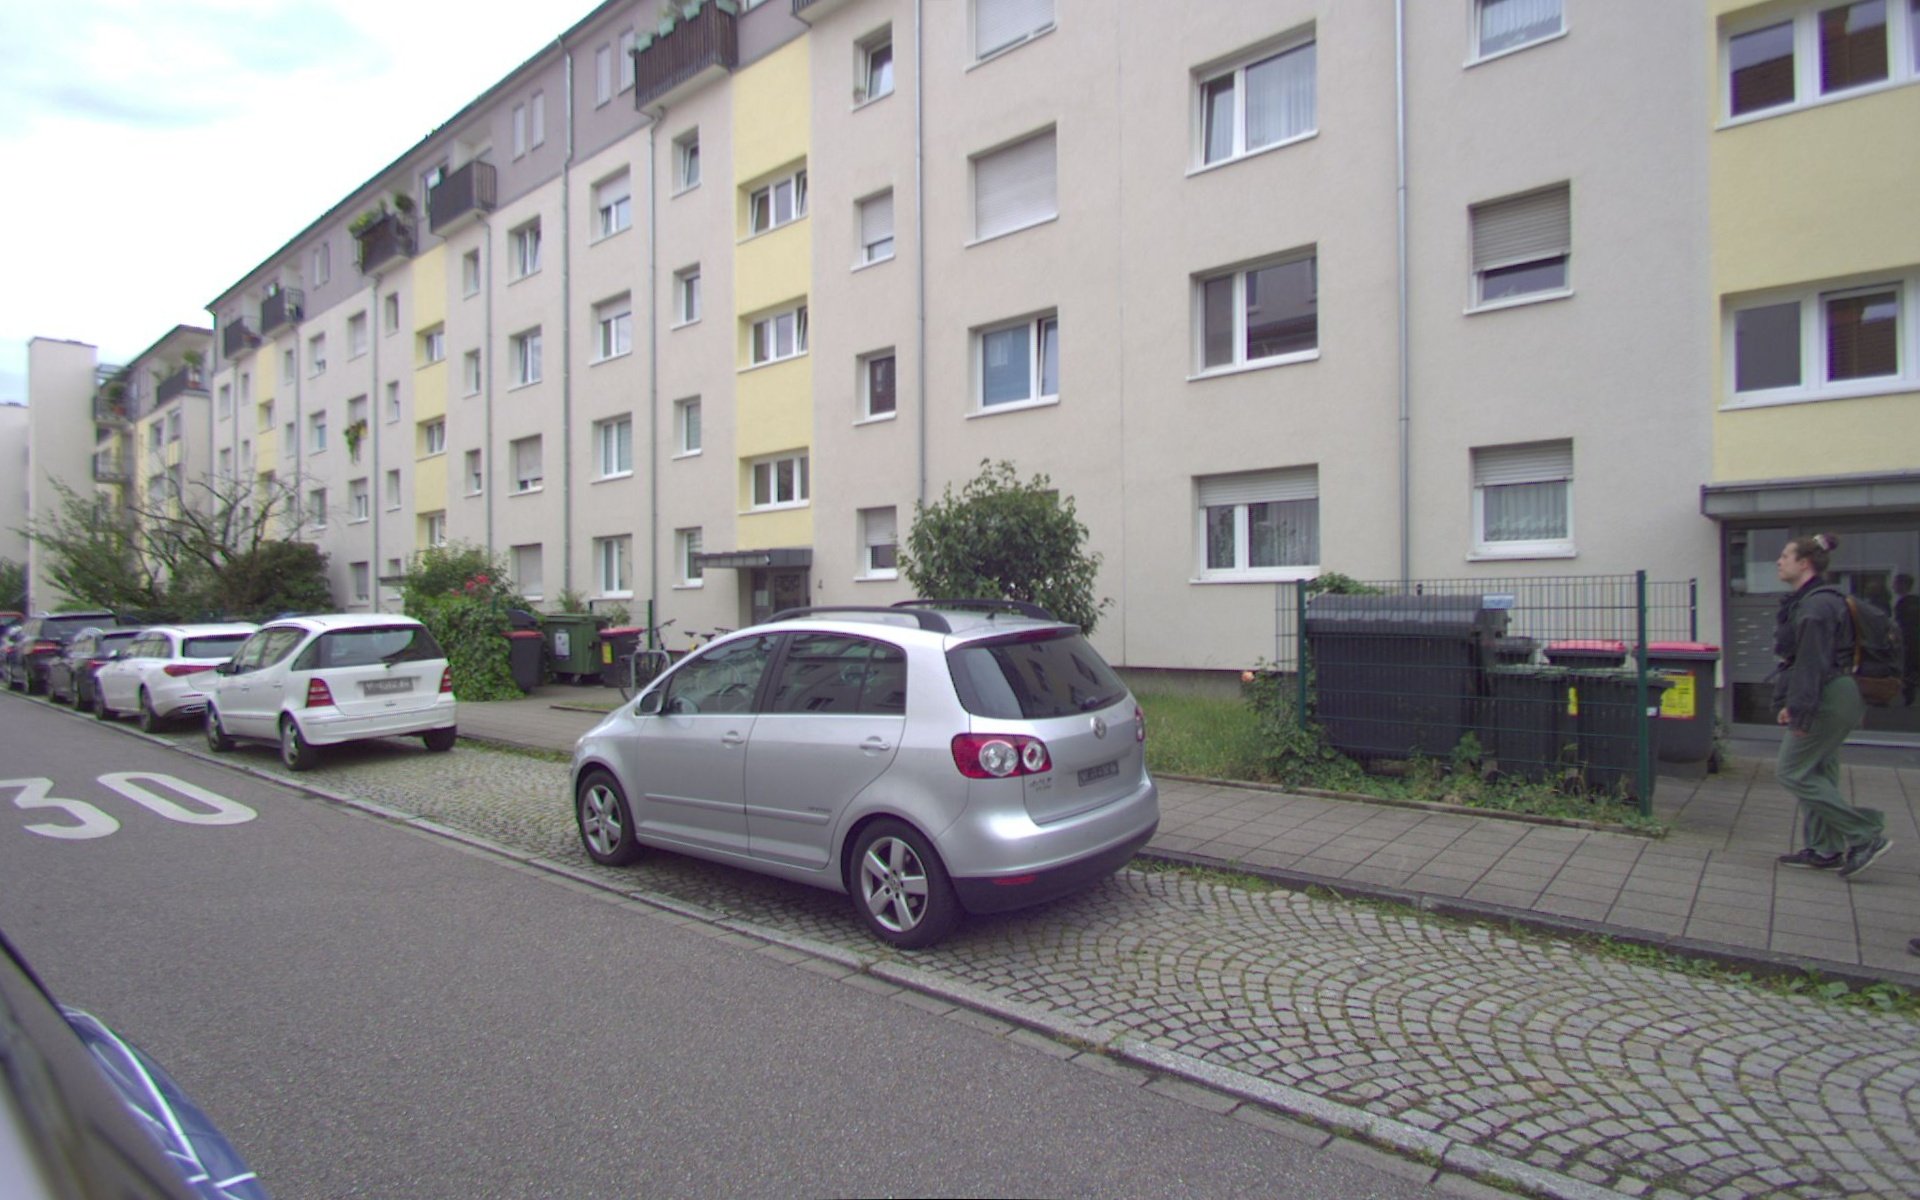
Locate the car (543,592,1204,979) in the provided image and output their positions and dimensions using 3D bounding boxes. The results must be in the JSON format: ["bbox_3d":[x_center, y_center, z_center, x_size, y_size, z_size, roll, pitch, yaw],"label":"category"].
[{"bbox_3d":[-0.730,0.801,6.043,3.912,1.562,1.637,-2,0,40],"label":"car"}]

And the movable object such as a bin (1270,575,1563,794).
[{"bbox_3d":[3.515,0.576,7.775,1.670,1.432,1.573,-2,-1,40],"label":"movable object such as a bin"}]

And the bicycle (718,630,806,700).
[{"bbox_3d":[-3.077,0.991,15.648,1.557,1.032,0.416,-2,-1,38],"label":"bicycle"}]

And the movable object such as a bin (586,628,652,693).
[{"bbox_3d":[-6.210,1.080,18.441,0.786,1.117,0.861,0,0,36],"label":"movable object such as a bin"}]

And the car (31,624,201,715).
[{"bbox_3d":[-15.727,1.193,18.777,4.480,1.464,1.707,-1,-1,41],"label":"car"}]

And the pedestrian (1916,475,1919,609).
[{"bbox_3d":[4.242,0.420,3.724,0.973,1.877,0.633,-2,0,41],"label":"pedestrian"}]

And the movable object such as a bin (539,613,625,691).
[{"bbox_3d":[-7.106,0.949,19.037,1.187,1.385,1.047,0,0,36],"label":"movable object such as a bin"}]

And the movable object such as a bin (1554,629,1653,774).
[{"bbox_3d":[5.403,0.818,8.486,0.597,1.125,0.834,-2,-2,38],"label":"movable object such as a bin"}]

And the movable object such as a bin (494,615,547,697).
[{"bbox_3d":[-7.644,0.961,17.602,0.587,1.378,0.651,0,0,36],"label":"movable object such as a bin"}]

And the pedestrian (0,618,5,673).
[{"bbox_3d":[-29.676,1.397,30.940,0.621,1.679,0.596,-2,-1,38],"label":"pedestrian"}]

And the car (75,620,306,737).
[{"bbox_3d":[-11.798,1.110,15.404,4.681,1.521,1.701,-2,-2,38],"label":"car"}]

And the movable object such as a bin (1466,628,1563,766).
[{"bbox_3d":[4.888,0.819,8.903,0.597,1.125,0.834,-2,-2,38],"label":"movable object such as a bin"}]

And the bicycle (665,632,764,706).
[{"bbox_3d":[-3.660,0.999,14.995,1.753,1.032,0.473,-2,-1,40],"label":"bicycle"}]

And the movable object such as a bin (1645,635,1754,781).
[{"bbox_3d":[5.868,0.816,8.022,0.633,1.059,0.855,-2,-2,39],"label":"movable object such as a bin"}]

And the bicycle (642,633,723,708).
[{"bbox_3d":[-4.039,1.004,14.674,1.496,1.032,0.352,-2,-1,40],"label":"bicycle"}]

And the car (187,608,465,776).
[{"bbox_3d":[-7.454,0.951,11.785,3.724,1.651,1.668,-2,-1,39],"label":"car"}]

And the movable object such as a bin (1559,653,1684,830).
[{"bbox_3d":[4.257,0.873,6.509,0.597,1.041,0.531,-2,-2,39],"label":"movable object such as a bin"}]

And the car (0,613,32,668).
[{"bbox_3d":[-33.106,1.384,34.440,3.537,1.820,1.686,-2,-2,38],"label":"car"}]

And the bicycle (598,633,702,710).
[{"bbox_3d":[-4.423,0.987,14.380,1.877,1.032,0.483,-2,-1,41],"label":"bicycle"}]

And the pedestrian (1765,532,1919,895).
[{"bbox_3d":[4.513,0.525,4.983,0.802,1.669,0.608,-2,-2,41],"label":"pedestrian"}]

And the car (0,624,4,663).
[{"bbox_3d":[-37.804,1.668,38.453,3.537,1.455,1.686,-2,-2,38],"label":"car"}]

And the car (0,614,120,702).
[{"bbox_3d":[-20.325,1.250,22.672,4.448,1.793,1.555,-2,-2,40],"label":"car"}]

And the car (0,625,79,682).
[{"bbox_3d":[-25.268,1.425,27.365,3.537,1.407,1.556,-2,-2,38],"label":"car"}]
